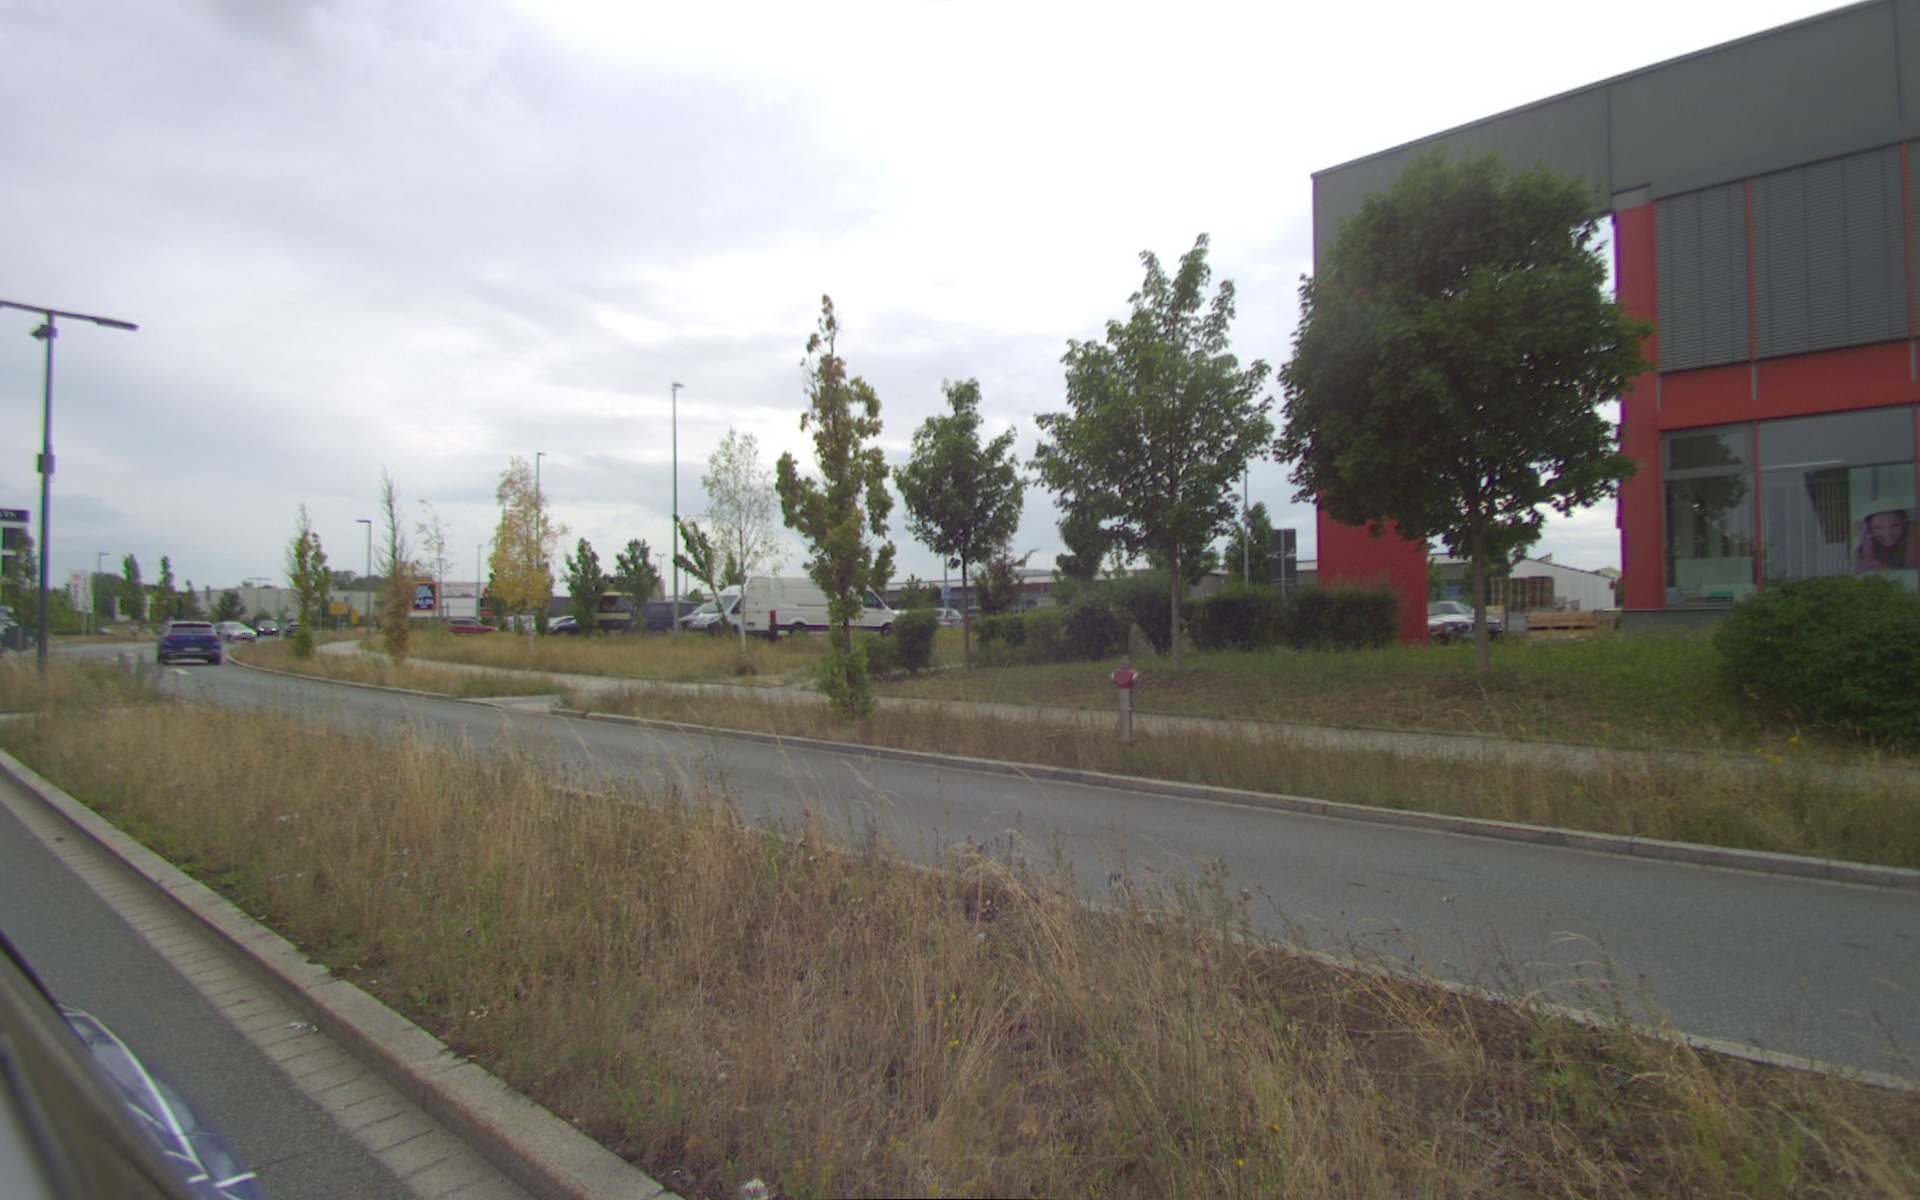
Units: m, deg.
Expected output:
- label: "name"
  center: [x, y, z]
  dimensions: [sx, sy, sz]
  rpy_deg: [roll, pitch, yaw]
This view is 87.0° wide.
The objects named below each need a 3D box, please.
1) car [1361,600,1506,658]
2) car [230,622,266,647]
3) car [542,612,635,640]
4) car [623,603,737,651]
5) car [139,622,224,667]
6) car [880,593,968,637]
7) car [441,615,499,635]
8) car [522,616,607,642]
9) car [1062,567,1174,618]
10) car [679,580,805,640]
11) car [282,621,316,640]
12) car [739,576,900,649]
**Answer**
- label: "car"
  center: [11.111, 0.660, 23.842]
  dimensions: [2.860, 1.280, 1.245]
  rpy_deg: [-1, 0, 43]
- label: "car"
  center: [-51.484, 2.506, 73.217]
  dimensions: [1.966, 1.683, 4.010]
  rpy_deg: [-1, -2, -34]
- label: "car"
  center: [-22.699, 1.614, 61.978]
  dimensions: [4.976, 1.669, 2.068]
  rpy_deg: [1, -2, -39]
- label: "car"
  center: [-13.657, 1.313, 49.526]
  dimensions: [4.979, 2.240, 2.067]
  rpy_deg: [2, -3, -42]
- label: "car"
  center: [-28.371, 1.596, 36.826]
  dimensions: [3.998, 1.524, 1.711]
  rpy_deg: [-2, -3, 41]
- label: "car"
  center: [-2.111, 0.847, 57.868]
  dimensions: [5.056, 2.391, 2.036]
  rpy_deg: [-1, 0, 42]
- label: "car"
  center: [-37.619, 1.918, 77.787]
  dimensions: [3.930, 1.475, 1.742]
  rpy_deg: [-1, 0, -24]
- label: "car"
  center: [-26.741, 1.953, 68.471]
  dimensions: [4.976, 1.669, 2.068]
  rpy_deg: [1, -2, -39]
- label: "car"
  center: [7.625, -0.327, 49.082]
  dimensions: [5.049, 2.391, 2.039]
  rpy_deg: [-1, 0, 38]
- label: "car"
  center: [-9.222, 0.396, 43.083]
  dimensions: [2.064, 2.391, 4.988]
  rpy_deg: [-1, 0, 41]
- label: "car"
  center: [-55.638, 2.570, 85.210]
  dimensions: [1.704, 1.504, 4.013]
  rpy_deg: [1, -2, -23]
- label: "car"
  center: [-5.419, 0.444, 39.837]
  dimensions: [2.066, 2.644, 6.326]
  rpy_deg: [-1, 0, 45]
